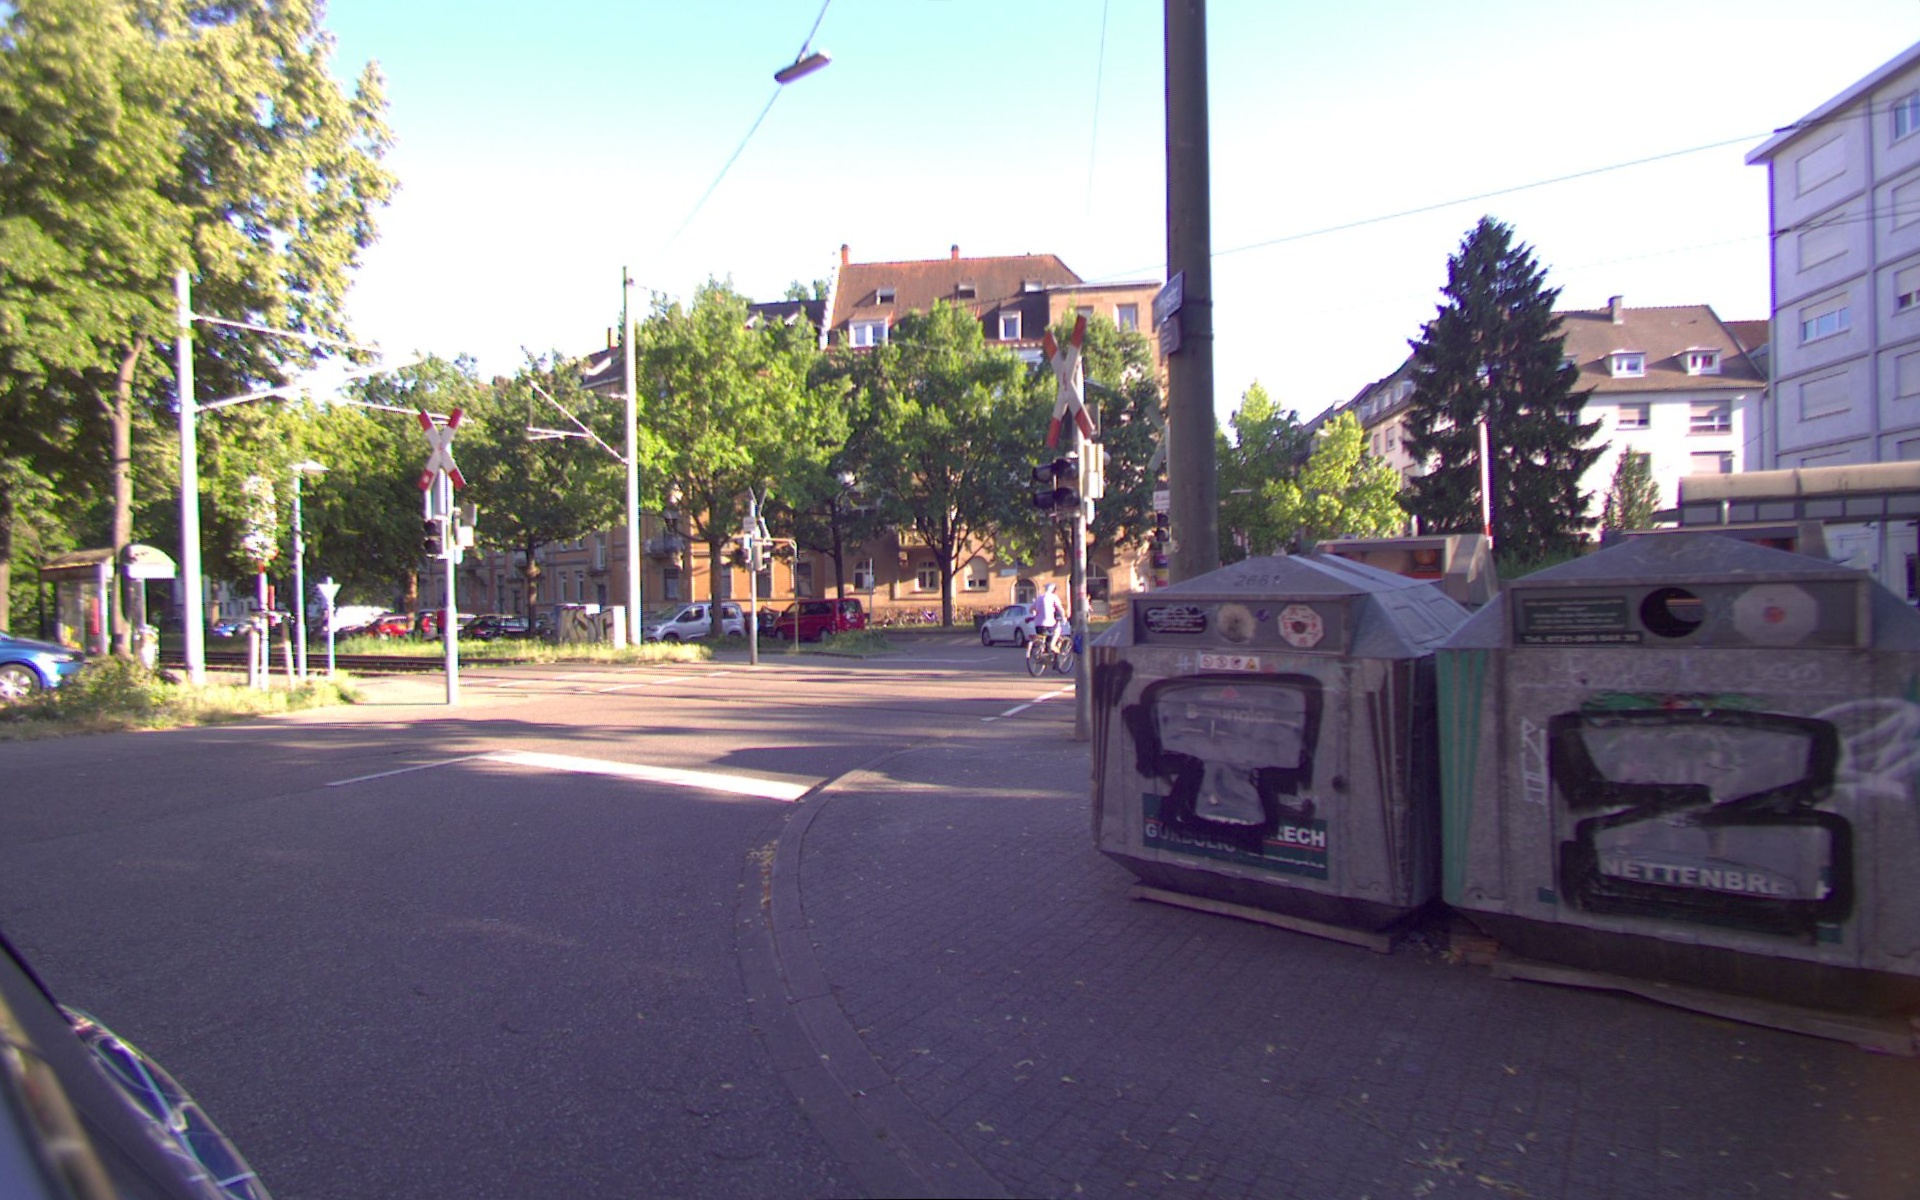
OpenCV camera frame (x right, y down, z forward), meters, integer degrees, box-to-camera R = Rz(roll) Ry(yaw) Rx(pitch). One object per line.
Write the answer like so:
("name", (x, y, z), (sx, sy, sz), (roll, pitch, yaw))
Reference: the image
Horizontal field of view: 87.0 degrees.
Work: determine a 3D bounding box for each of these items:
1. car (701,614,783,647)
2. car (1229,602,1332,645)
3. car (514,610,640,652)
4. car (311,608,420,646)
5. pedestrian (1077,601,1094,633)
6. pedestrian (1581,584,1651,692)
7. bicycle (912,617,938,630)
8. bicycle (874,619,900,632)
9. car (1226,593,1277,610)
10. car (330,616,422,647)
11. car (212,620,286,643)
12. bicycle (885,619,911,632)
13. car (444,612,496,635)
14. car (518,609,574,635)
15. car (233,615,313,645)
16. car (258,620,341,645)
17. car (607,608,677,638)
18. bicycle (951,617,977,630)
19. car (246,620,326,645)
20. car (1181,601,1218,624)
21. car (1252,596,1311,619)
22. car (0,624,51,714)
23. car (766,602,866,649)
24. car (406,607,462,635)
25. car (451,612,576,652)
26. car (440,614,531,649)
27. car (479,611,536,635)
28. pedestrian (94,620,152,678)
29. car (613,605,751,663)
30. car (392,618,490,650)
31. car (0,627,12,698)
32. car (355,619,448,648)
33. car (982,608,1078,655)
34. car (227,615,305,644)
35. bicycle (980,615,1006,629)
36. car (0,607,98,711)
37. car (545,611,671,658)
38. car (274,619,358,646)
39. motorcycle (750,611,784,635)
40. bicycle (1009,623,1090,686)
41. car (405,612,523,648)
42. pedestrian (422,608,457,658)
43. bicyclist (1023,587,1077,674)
("car", (-10.717, 1.492, 49.685), (4.270, 1.444, 1.757), (-1, 1, 43))
("car", (11.714, 0.826, 36.884), (1.923, 1.461, 4.235), (-3, -2, 43))
("car", (-15.737, 1.223, 41.744), (1.950, 1.584, 4.489), (0, 0, 42))
("car", (-33.017, 1.482, 56.277), (2.154, 2.053, 4.794), (-1, -1, 40))
("pedestrian", (6.889, 0.915, 55.618), (0.902, 1.731, 0.673), (0, -1, 10))
("pedestrian", (11.006, 0.617, 16.975), (0.870, 1.749, 0.820), (-1, 1, 39))
("bicycle", (-2.033, 1.389, 59.529), (1.491, 0.738, 0.368), (-1, 0, 5))
("bicycle", (-4.291, 1.503, 59.744), (1.491, 0.738, 0.368), (-1, 0, 5))
("car", (25.076, 0.158, 87.107), (3.930, 1.410, 1.880), (-1, -1, -23))
("car", (-31.266, 1.661, 54.252), (1.763, 1.592, 3.949), (-1, -1, 38))
("car", (-49.832, 2.192, 70.987), (1.683, 1.500, 3.946), (-1, -1, 40))
("bicycle", (-3.653, 1.489, 59.296), (1.491, 0.738, 0.368), (-1, 0, 5))
("car", (-33.514, 1.590, 69.231), (3.885, 1.449, 1.745), (-1, 1, 40))
("car", (-25.618, 1.360, 62.615), (3.707, 1.486, 1.666), (-1, 1, 41))
("car", (-44.307, 1.908, 65.333), (1.683, 1.846, 3.946), (-1, -1, 40))
("car", (-40.501, 1.978, 62.134), (1.683, 1.500, 3.946), (-1, -1, 40))
("car", (-17.502, 1.273, 55.669), (4.270, 1.486, 1.757), (-1, 1, 43))
("bicycle", (0.225, 1.356, 59.531), (1.491, 0.738, 0.368), (-1, 0, 5))
("car", (-42.574, 2.028, 63.980), (1.683, 1.500, 3.946), (-1, -1, 40))
("car", (15.144, 0.798, 64.243), (1.851, 1.410, 3.991), (-1, 0, 7))
("car", (24.079, 0.569, 75.831), (3.930, 1.648, 1.880), (-1, -1, -23))
("car", (-19.833, 1.287, 18.466), (4.474, 1.647, 1.935), (0, -1, -28))
("car", (-6.576, 1.162, 45.968), (4.769, 1.948, 1.758), (-1, 1, 41))
("car", (-37.862, 1.506, 72.811), (4.722, 1.897, 1.888), (-1, 1, 40))
("car", (-19.598, 1.373, 44.542), (2.000, 1.584, 4.650), (0, 0, 42))
("car", (-21.571, 1.416, 46.108), (1.719, 1.526, 3.362), (-2, -1, 42))
("car", (-29.568, 1.512, 66.072), (4.288, 1.394, 1.745), (-1, 1, 42))
("pedestrian", (-19.146, 1.110, 23.152), (0.874, 1.282, 0.815), (-1, -1, 33))
("car", (-10.002, 1.173, 36.633), (1.950, 1.929, 4.489), (0, 0, 42))
("car", (-25.457, 1.634, 49.744), (1.683, 1.472, 3.946), (-1, -1, 40))
("car", (-21.936, 1.301, 19.886), (4.474, 1.498, 1.935), (0, -1, -28))
("car", (-29.238, 1.736, 53.090), (1.683, 1.434, 3.946), (-1, -1, 40))
("car", (2.286, 1.033, 34.277), (1.678, 1.468, 4.075), (0, -1, -21))
("car", (-45.868, 1.933, 66.956), (1.683, 1.846, 3.946), (-1, -1, 40))
("bicycle", (1.954, 1.302, 59.251), (1.491, 0.738, 0.368), (-3, -1, 5))
("car", (-17.365, 1.037, 16.837), (4.344, 1.700, 1.747), (-2, 0, -31))
("car", (-13.805, 1.304, 39.910), (1.945, 1.704, 4.398), (0, 0, 34))
("car", (-38.468, 1.918, 60.481), (1.683, 1.500, 3.946), (-1, -1, 40))
("motorcycle", (-11.532, 1.365, 60.517), (1.875, 1.363, 0.809), (-2, -1, 5))
("bicycle", (1.721, 1.002, 19.160), (0.698, 1.062, 2.102), (-1, 0, 30))
("car", (-23.483, 1.375, 48.021), (2.000, 1.584, 4.650), (0, 0, 42))
("pedestrian", (-20.640, 1.288, 40.120), (1.149, 1.933, 0.893), (-1, -1, 41))
("bicyclist", (1.711, 0.563, 19.185), (0.698, 1.600, 0.865), (-1, -1, 31))
